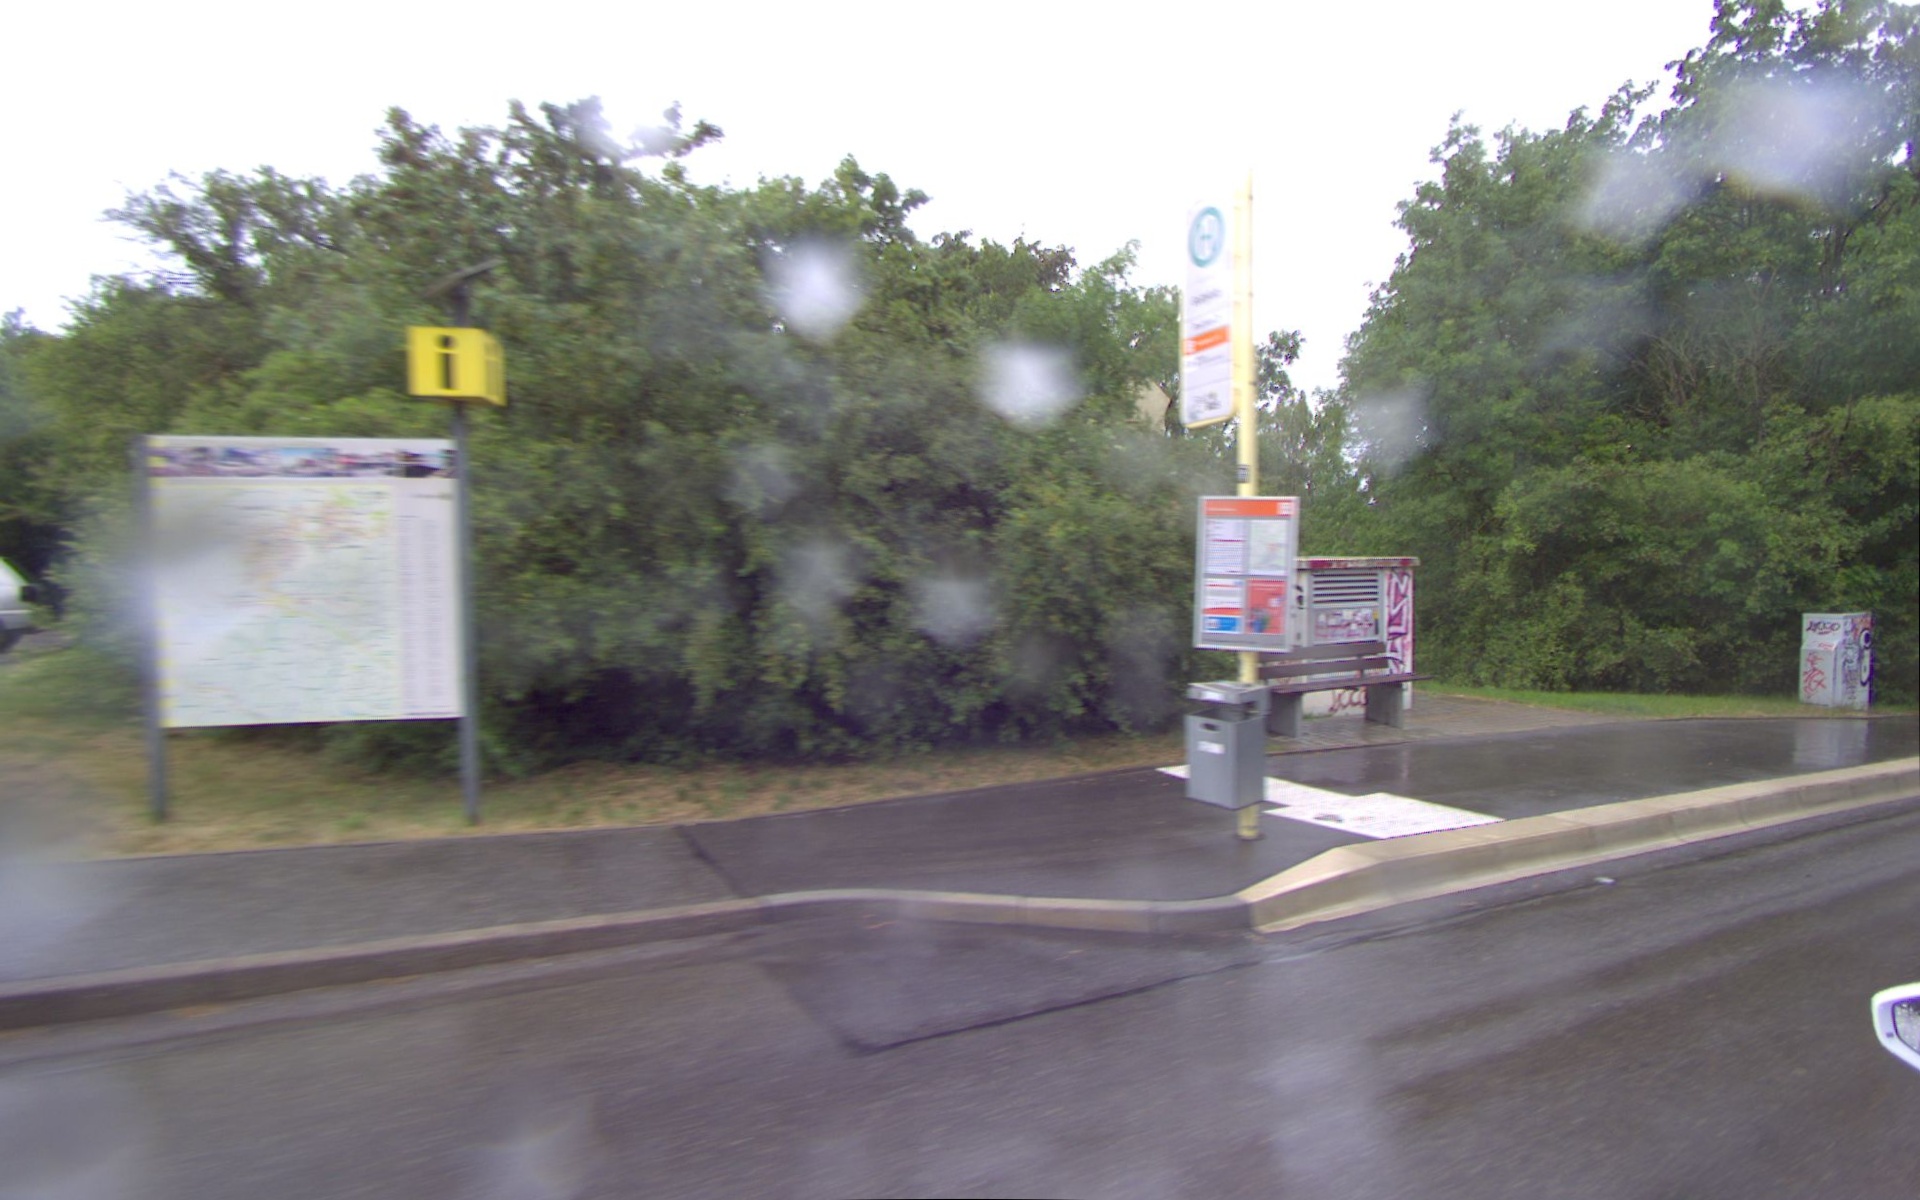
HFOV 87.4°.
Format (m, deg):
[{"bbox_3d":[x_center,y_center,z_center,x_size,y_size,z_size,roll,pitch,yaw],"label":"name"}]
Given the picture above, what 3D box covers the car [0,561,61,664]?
[{"bbox_3d":[-15.079,0.187,13.589,4.130,1.417,1.681,-1,1,-35],"label":"car"}]
